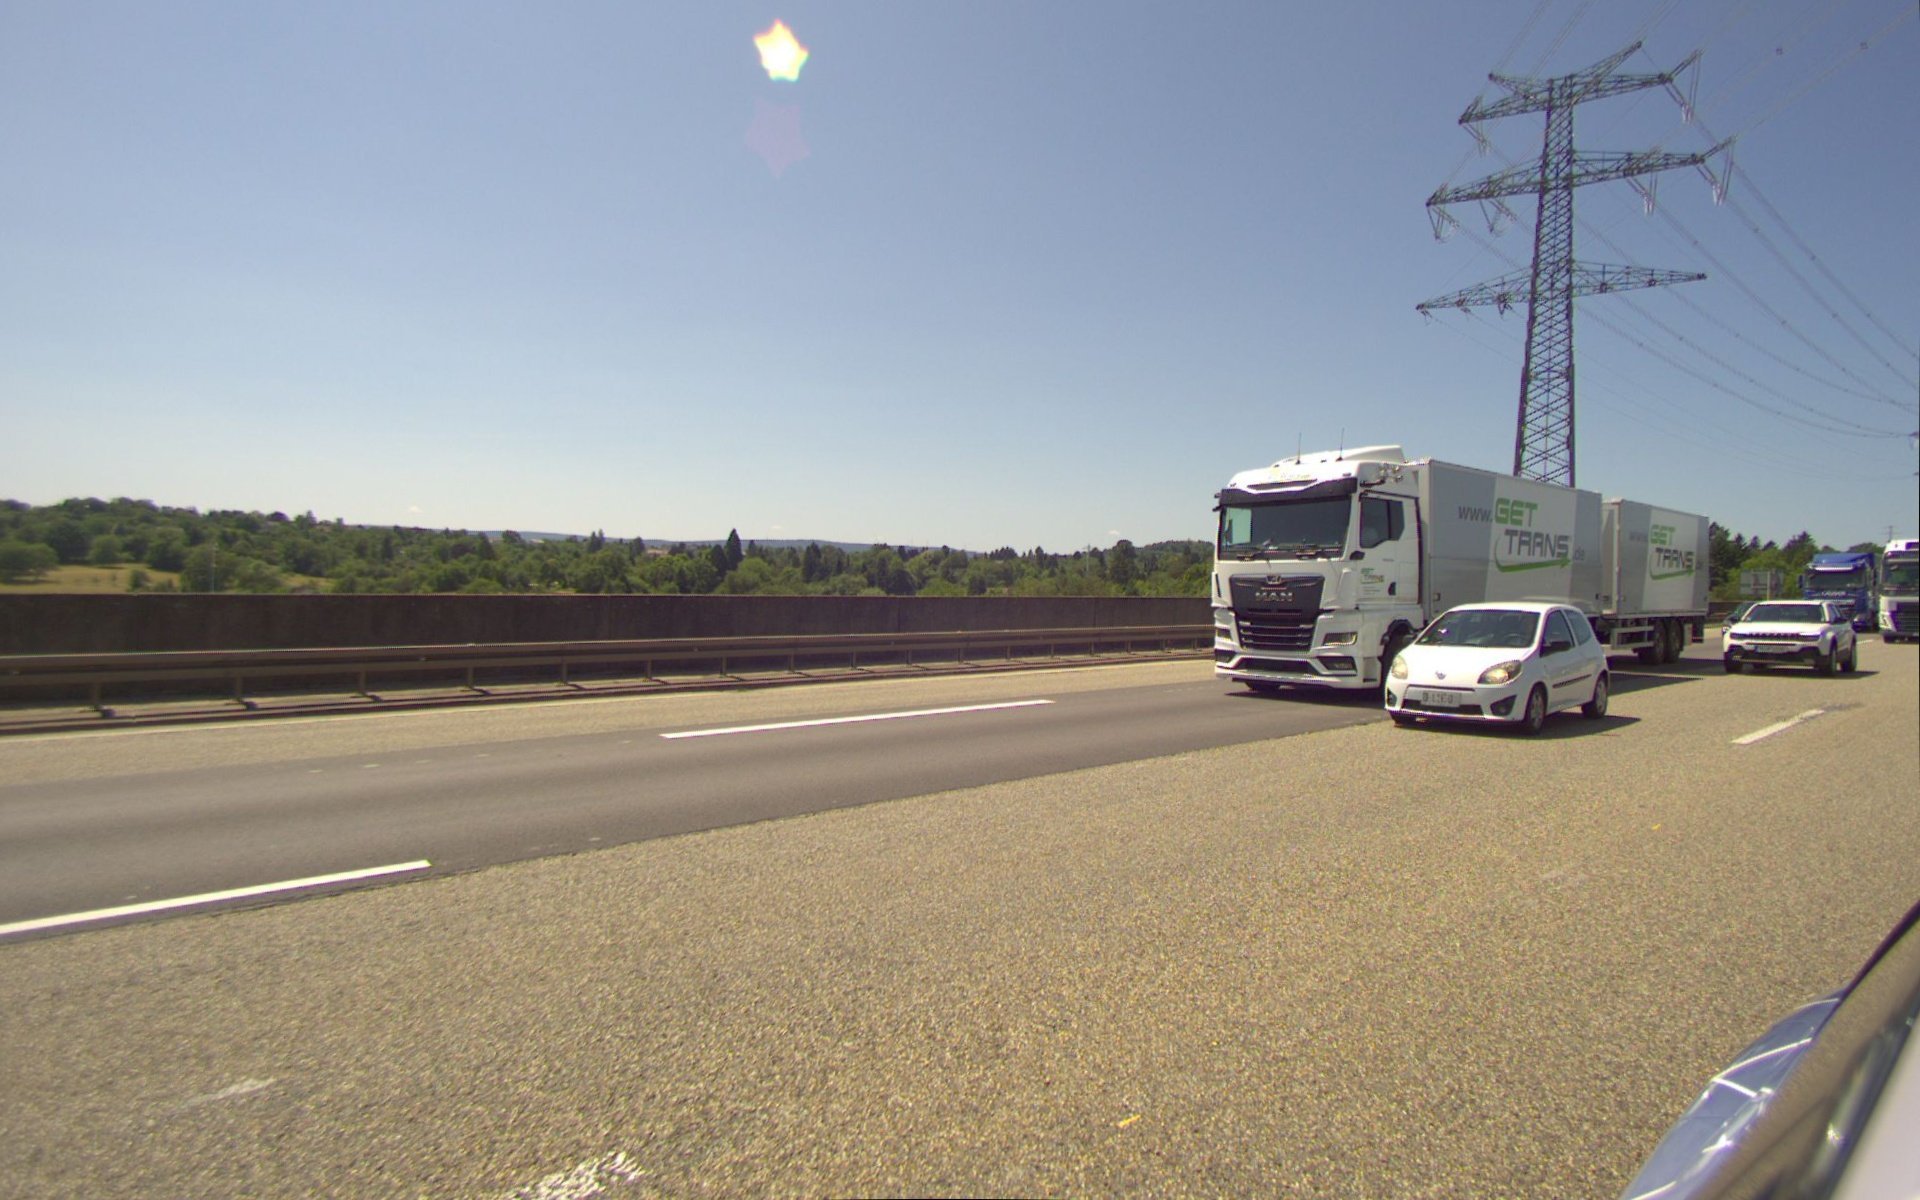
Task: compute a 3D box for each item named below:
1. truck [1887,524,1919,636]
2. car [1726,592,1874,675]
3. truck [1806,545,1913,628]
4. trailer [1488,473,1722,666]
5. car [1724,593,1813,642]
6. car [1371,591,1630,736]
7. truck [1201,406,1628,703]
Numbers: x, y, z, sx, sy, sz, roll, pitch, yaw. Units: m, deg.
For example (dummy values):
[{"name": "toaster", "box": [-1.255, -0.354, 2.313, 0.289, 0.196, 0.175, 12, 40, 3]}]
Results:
[{"name": "truck", "box": [40.686, -0.736, 41.151, 14.004, 4.090, 2.715, 0, -1, -41]}, {"name": "car", "box": [17.680, 0.641, 21.245, 3.784, 1.549, 1.775, -1, 0, -41]}, {"name": "truck", "box": [46.748, -0.688, 52.448, 11.080, 3.929, 2.837, -1, 0, -42]}, {"name": "trailer", "box": [15.765, -0.638, 24.471, 7.638, 3.991, 2.749, 0, -1, -41]}, {"name": "car", "box": [28.682, 0.571, 35.867, 3.931, 1.598, 1.819, -1, 0, -41]}, {"name": "car", "box": [6.775, 0.667, 12.539, 3.760, 1.529, 1.657, 0, 0, -42]}, {"name": "truck", "box": [8.752, -0.624, 18.244, 11.101, 3.980, 2.692, 0, -1, -42]}]
